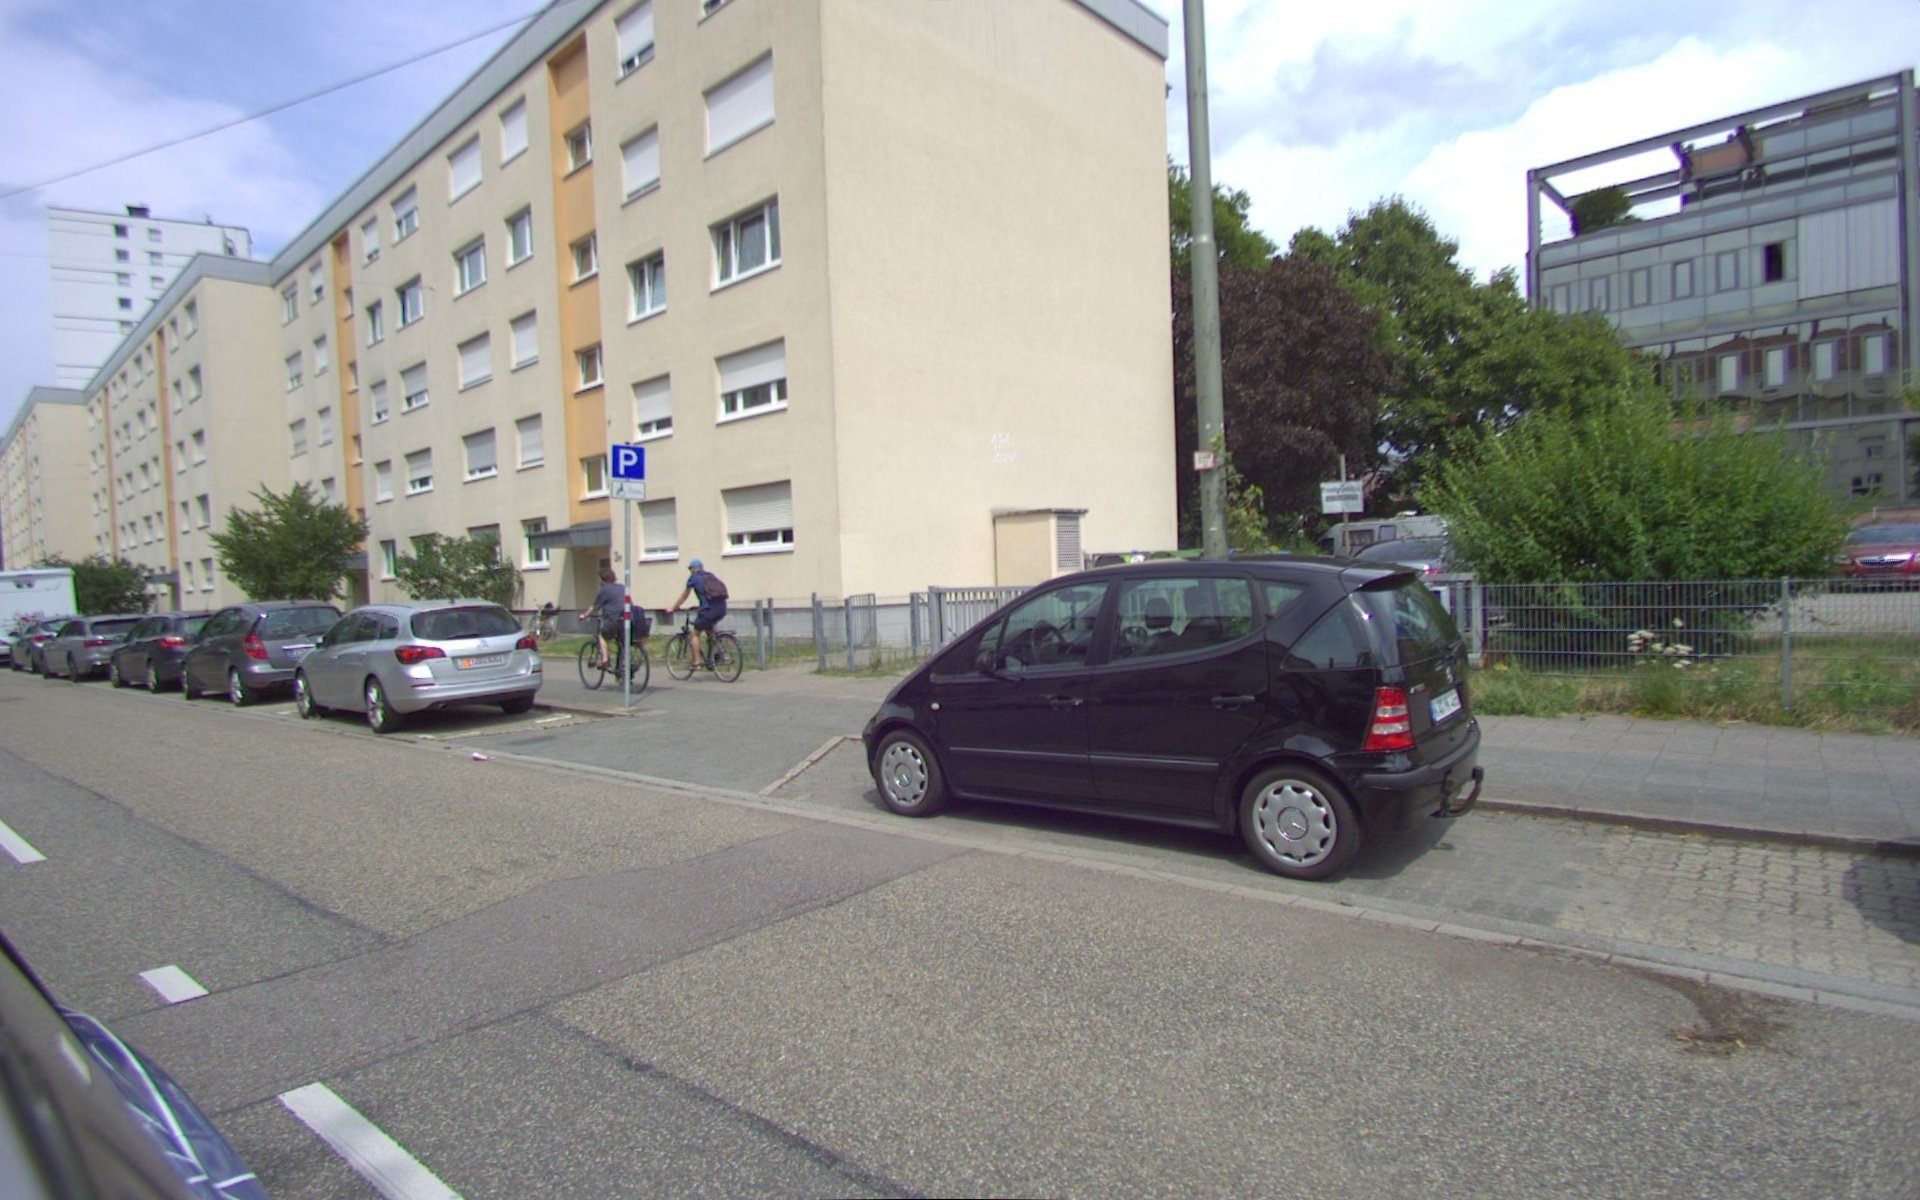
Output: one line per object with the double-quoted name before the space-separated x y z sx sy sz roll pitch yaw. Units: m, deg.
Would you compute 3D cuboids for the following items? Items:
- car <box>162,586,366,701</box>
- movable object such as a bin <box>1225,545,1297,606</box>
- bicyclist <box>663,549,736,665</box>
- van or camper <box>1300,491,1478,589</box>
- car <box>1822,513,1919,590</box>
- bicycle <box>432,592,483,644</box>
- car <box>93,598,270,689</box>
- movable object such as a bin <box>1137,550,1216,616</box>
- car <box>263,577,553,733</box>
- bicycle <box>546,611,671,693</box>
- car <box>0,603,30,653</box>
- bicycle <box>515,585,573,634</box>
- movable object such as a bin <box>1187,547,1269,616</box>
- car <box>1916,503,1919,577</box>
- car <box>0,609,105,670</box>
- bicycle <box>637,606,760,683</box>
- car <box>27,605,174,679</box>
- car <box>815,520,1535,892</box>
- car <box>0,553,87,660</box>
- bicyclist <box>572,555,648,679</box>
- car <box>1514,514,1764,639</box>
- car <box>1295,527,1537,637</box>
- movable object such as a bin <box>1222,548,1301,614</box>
"car" -11.604 0.651 16.798 3.835 1.636 1.701 -1 2 39
"movable object such as a bin" 7.297 -0.587 24.530 1.301 1.423 1.232 0 1 40
"bicyclist" -3.785 0.091 14.706 0.765 1.619 0.608 0 3 40
"van or camper" 13.902 -1.873 32.994 4.902 2.894 1.972 -1 2 44
"car" 19.680 -1.045 21.467 1.983 1.494 3.944 0 3 42
"bicycle" -12.694 0.432 25.520 0.526 1.216 2.020 -6 4 -42
"car" -15.309 0.782 19.832 4.258 1.515 1.661 -1 3 38
"movable object such as a bin" 4.827 -0.378 22.588 1.301 1.423 1.232 0 1 40
"car" -7.229 0.615 13.036 4.549 1.575 1.768 -1 4 42
"bicycle" -4.901 0.690 14.032 2.080 1.009 0.617 0 3 41
"car" -35.079 0.996 36.369 3.833 1.752 1.973 0 1 40
"bicycle" -10.896 0.245 26.480 2.017 1.216 0.527 -1 3 42
"movable object such as a bin" 5.734 -0.392 21.663 1.301 1.423 1.232 0 1 40
"car" 28.620 -1.745 28.739 1.970 2.152 4.173 -1 1 41
"car" -24.813 1.019 27.580 4.054 1.495 1.596 -1 0 39
"bicycle" -3.854 0.622 14.806 2.080 1.009 0.617 0 3 41
"car" -20.339 0.919 23.877 4.619 1.518 1.701 -1 2 38
"car" 1.097 0.435 6.185 3.995 1.586 1.606 -1 2 39
"car" -29.921 0.220 31.863 7.108 3.081 2.588 -1 0 40
"bicyclist" -4.810 0.220 13.906 0.765 1.619 0.608 0 3 40
"car" 9.599 -0.386 14.202 3.939 1.494 2.003 -4 3 -42
"car" 7.161 -0.347 15.742 3.939 1.494 2.003 -4 3 -42
"movable object such as a bin" 6.764 -0.422 22.709 1.301 1.423 1.232 0 1 40
